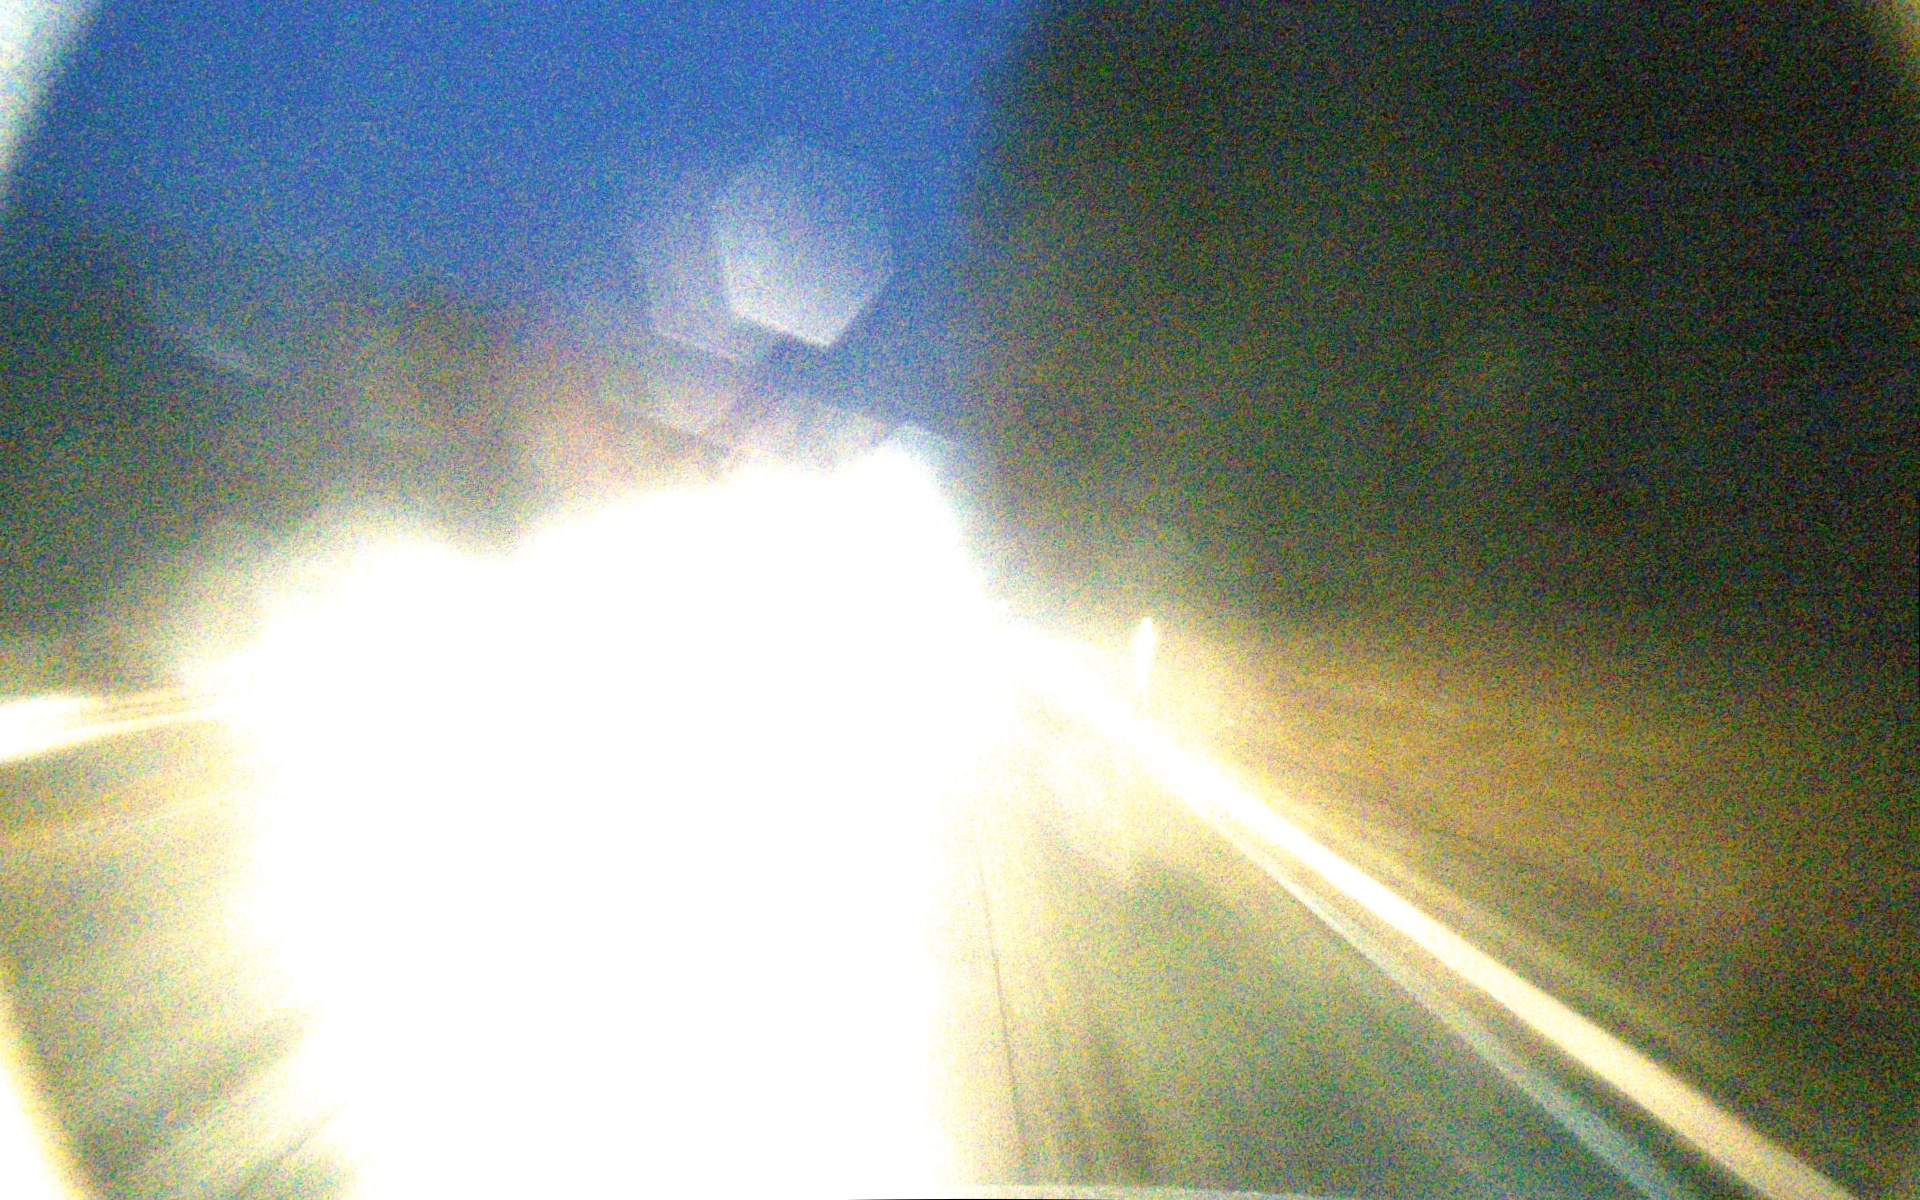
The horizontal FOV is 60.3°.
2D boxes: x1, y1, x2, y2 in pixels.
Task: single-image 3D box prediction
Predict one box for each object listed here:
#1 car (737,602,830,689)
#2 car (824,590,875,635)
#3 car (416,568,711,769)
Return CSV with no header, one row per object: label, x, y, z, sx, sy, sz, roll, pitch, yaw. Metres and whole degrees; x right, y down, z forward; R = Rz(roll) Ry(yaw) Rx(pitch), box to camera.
car,-3.872,0.958,36.776,1.894,1.614,3.997,-2,2,-4
car,-4.151,0.495,62.704,1.799,1.497,4.389,0,-3,-2
car,-3.419,0.502,14.974,1.791,1.481,3.792,-2,2,-1
